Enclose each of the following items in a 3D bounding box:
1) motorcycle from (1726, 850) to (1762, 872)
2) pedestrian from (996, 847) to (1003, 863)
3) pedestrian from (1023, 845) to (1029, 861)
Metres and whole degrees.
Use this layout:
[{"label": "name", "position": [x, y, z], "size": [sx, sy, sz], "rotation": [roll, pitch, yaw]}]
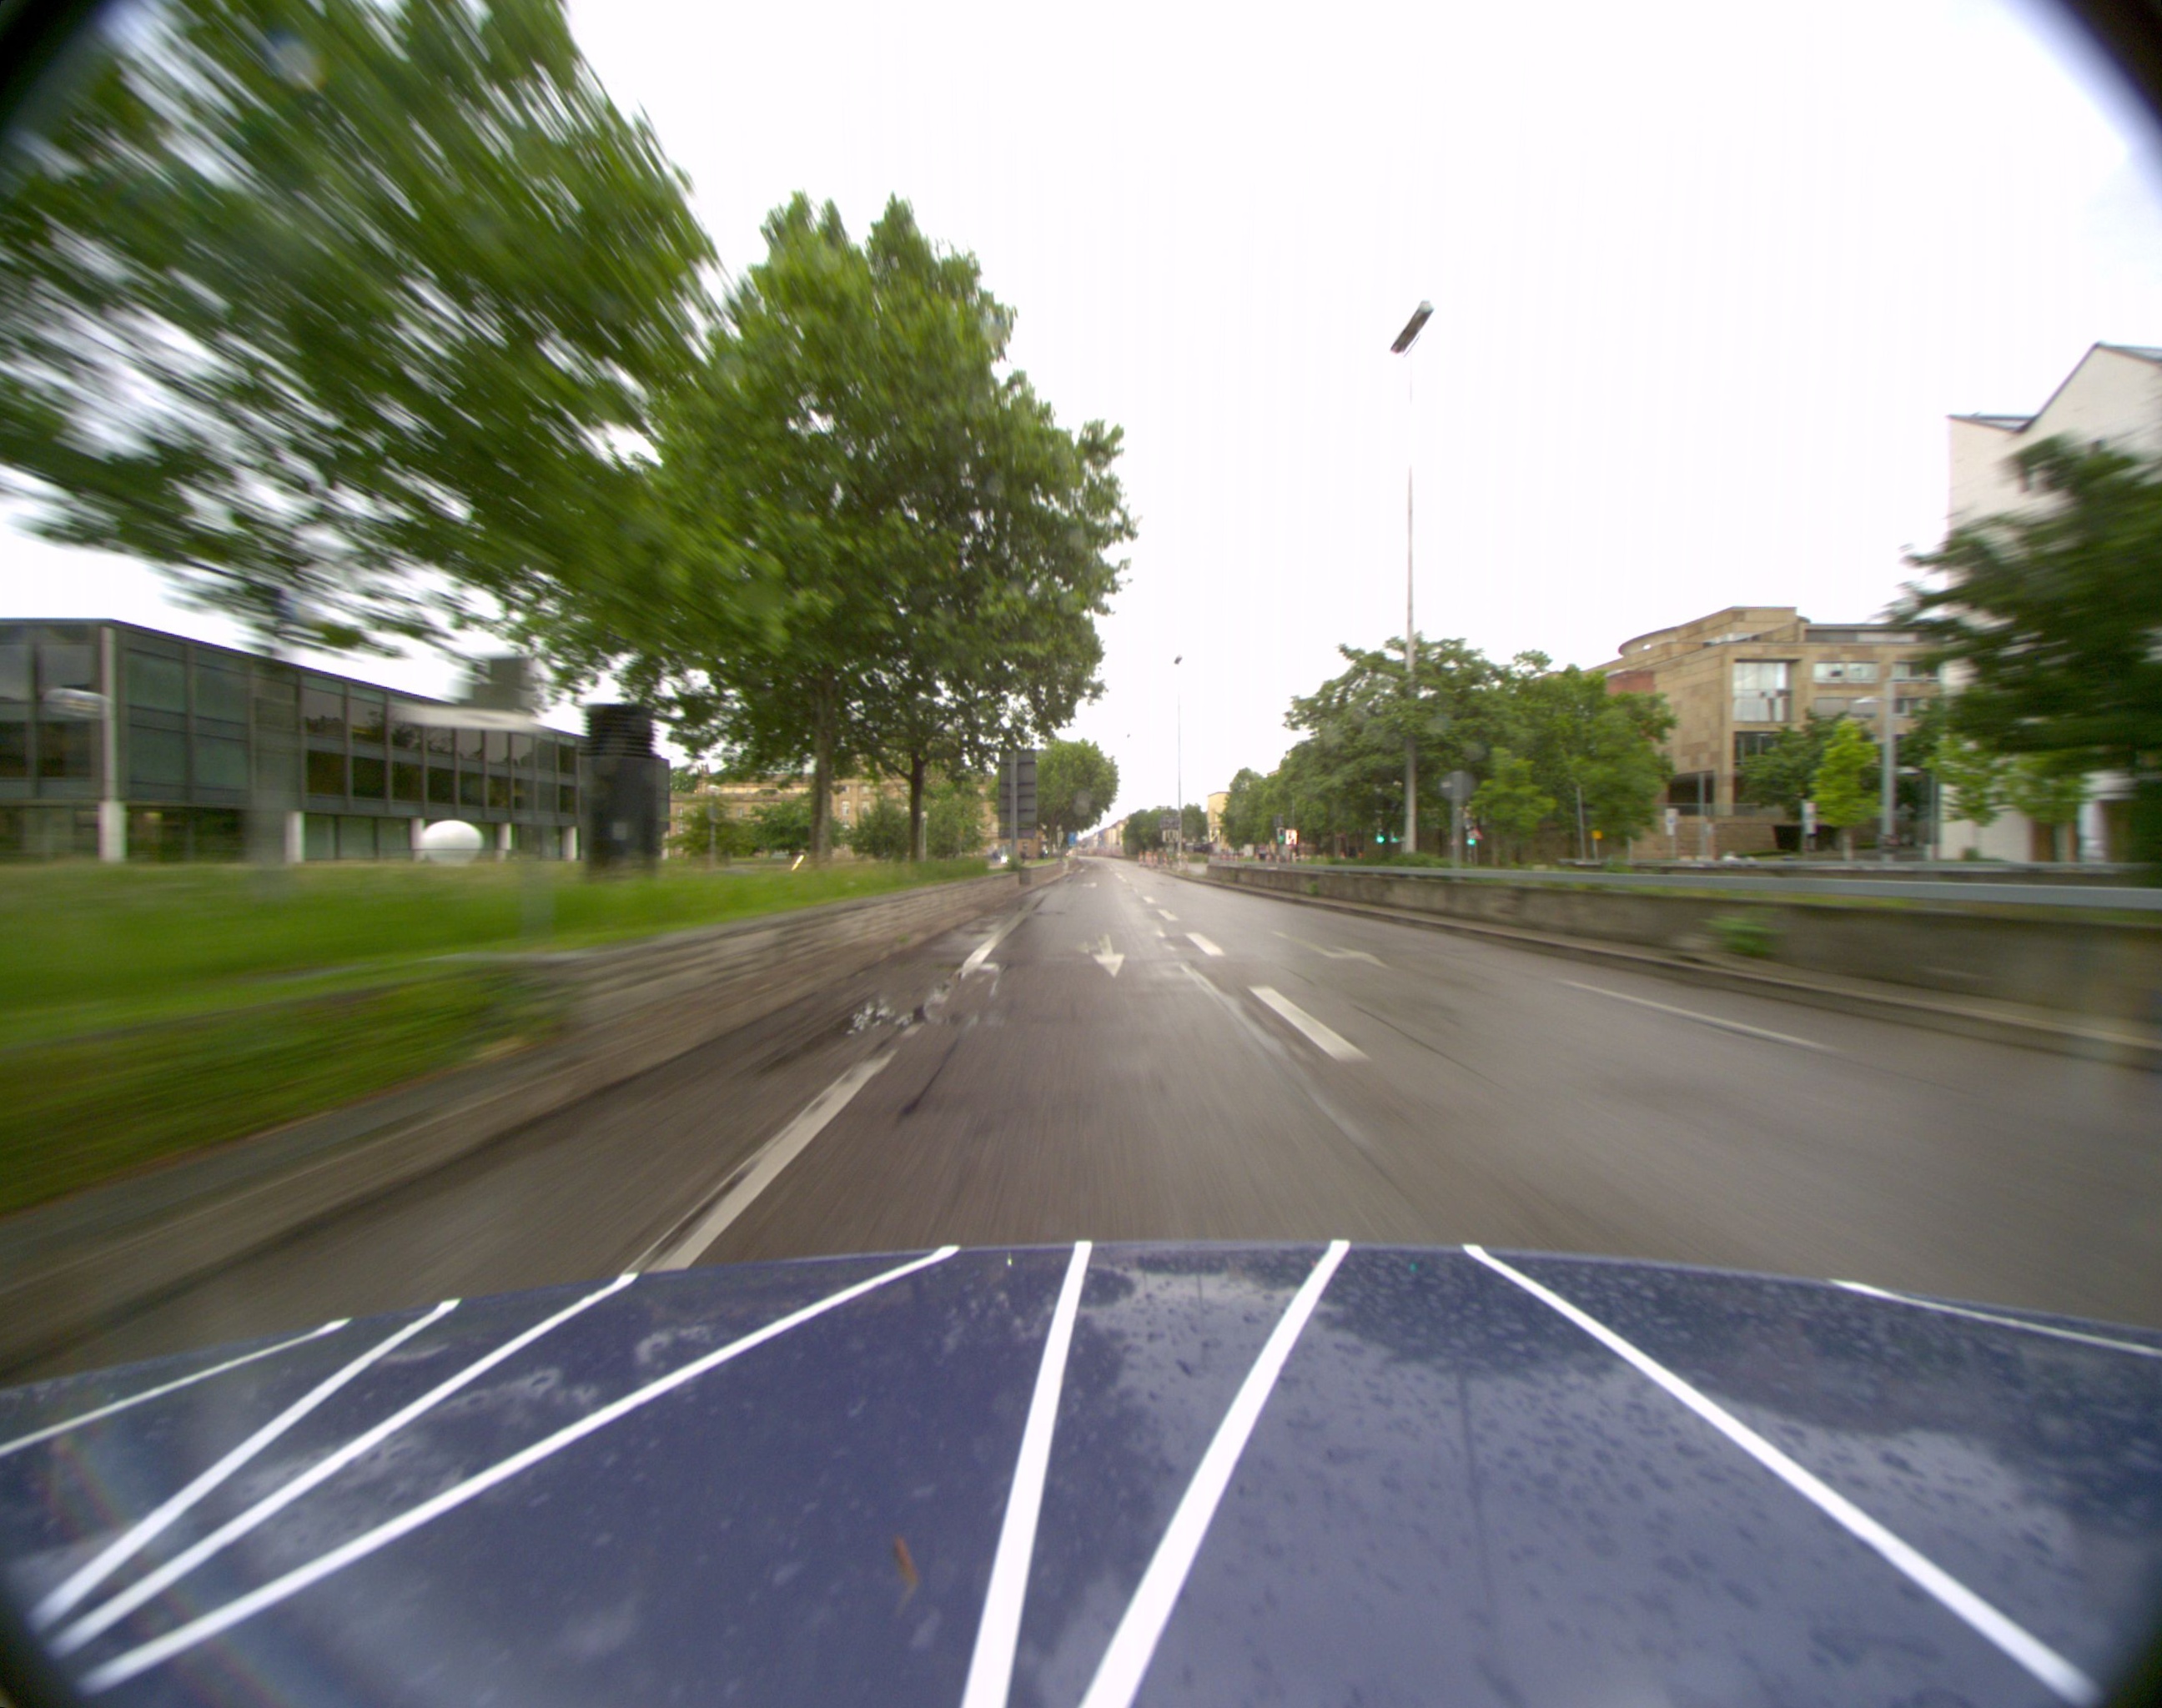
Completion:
[{"label": "motorcycle", "position": [37.414, 0.366, 42.894], "size": [1.817, 1.175, 0.606], "rotation": [-2, 1, -14]}, {"label": "pedestrian", "position": [-8.145, 0.110, 75.834], "size": [0.671, 1.655, 0.587], "rotation": [0, 2, -16]}, {"label": "pedestrian", "position": [-6.123, -0.136, 85.205], "size": [0.594, 1.764, 0.587], "rotation": [-2, 1, 0]}]
